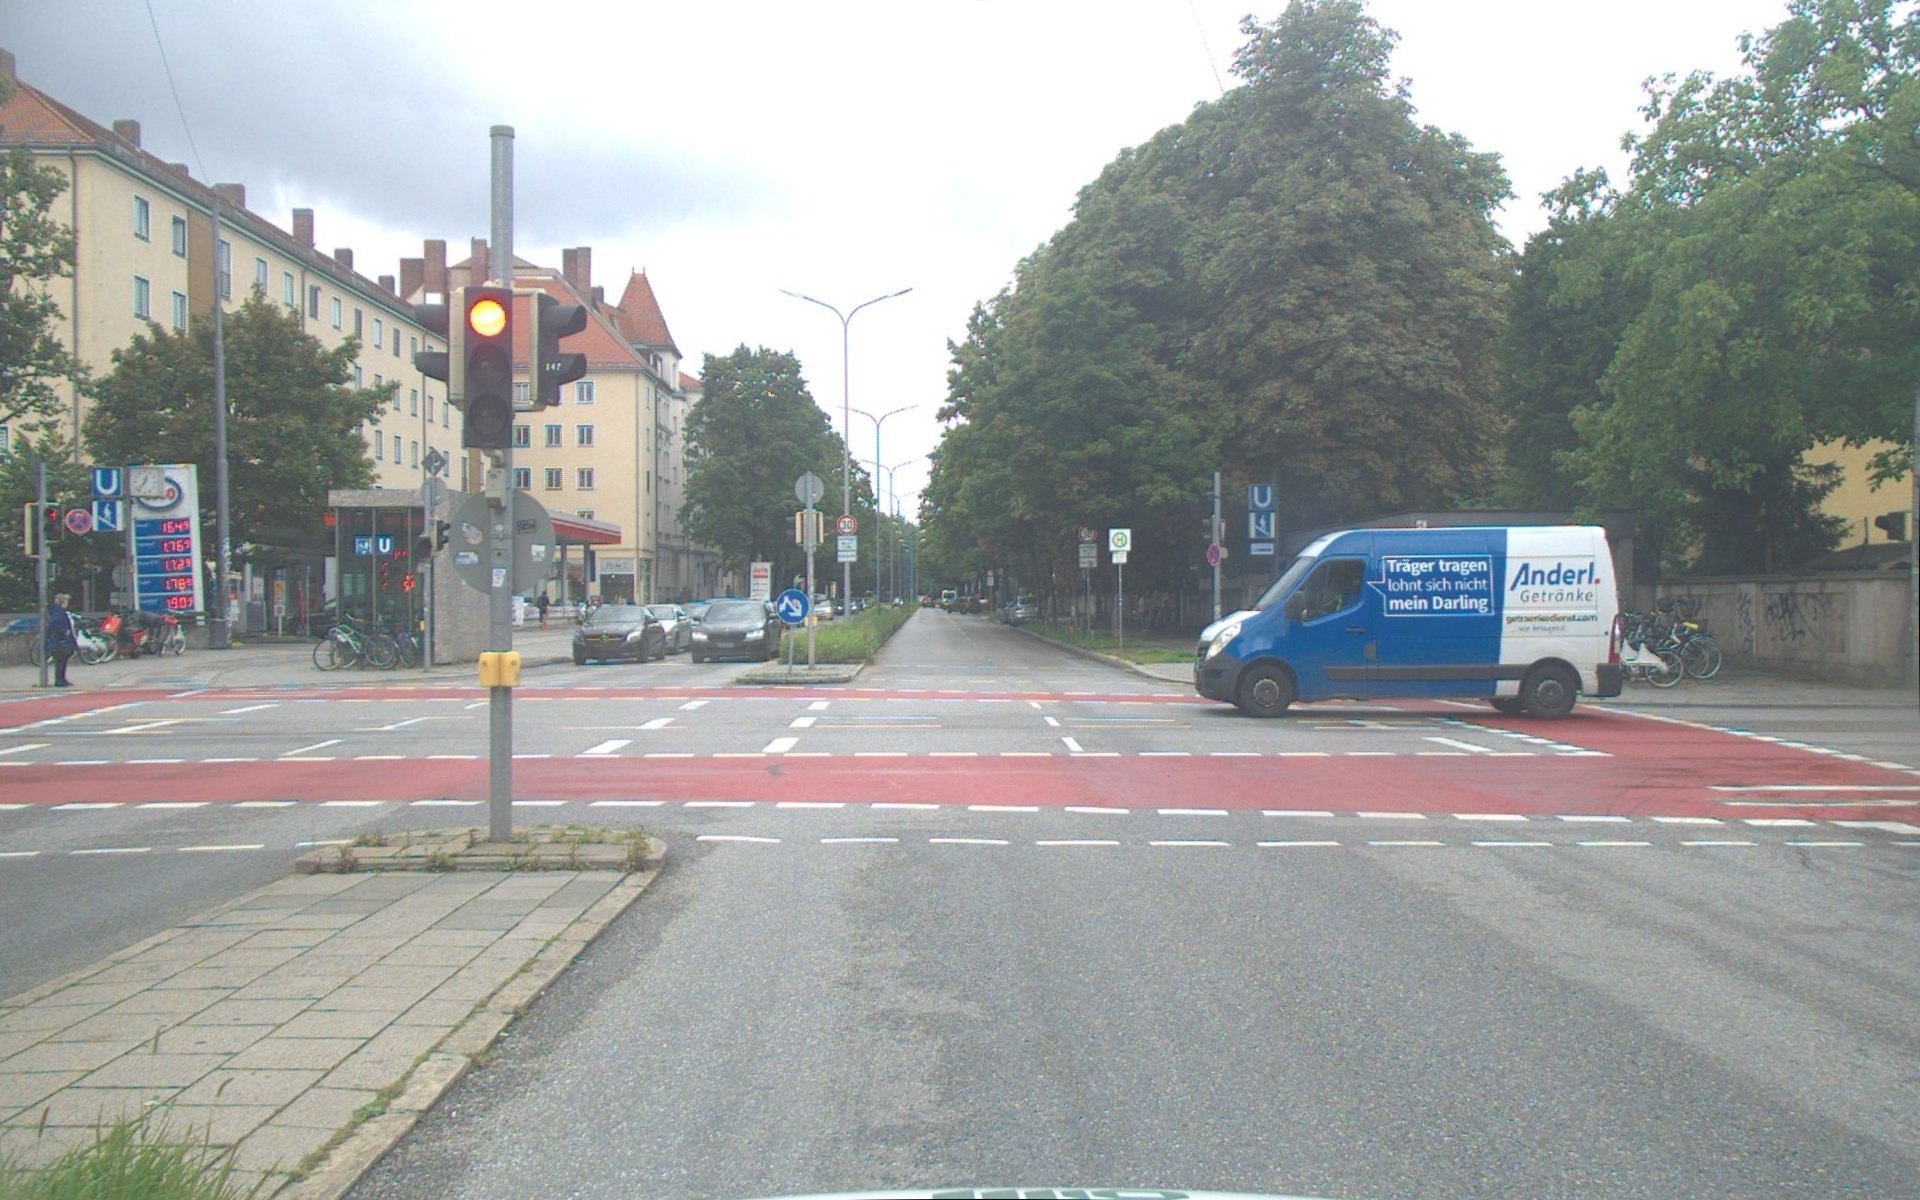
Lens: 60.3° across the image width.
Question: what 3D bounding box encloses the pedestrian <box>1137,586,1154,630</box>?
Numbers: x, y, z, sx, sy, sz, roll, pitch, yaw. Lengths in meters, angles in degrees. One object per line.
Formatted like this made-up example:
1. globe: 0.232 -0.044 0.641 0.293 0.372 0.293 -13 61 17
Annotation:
1. pedestrian: 7.271 0.315 64.831 0.663 1.712 0.683 0 0 5

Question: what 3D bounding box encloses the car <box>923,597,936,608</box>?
1. car: -4.529 0.352 245.928 1.819 1.713 3.999 0 0 -1

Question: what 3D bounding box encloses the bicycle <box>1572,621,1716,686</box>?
1. bicycle: 11.221 0.876 27.167 2.097 1.032 0.603 0 0 7

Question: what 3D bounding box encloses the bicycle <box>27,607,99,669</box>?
1. bicycle: -19.056 0.786 35.185 0.596 1.257 2.183 0 0 -7

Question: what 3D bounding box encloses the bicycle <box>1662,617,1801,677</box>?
1. bicycle: 13.482 0.816 28.936 2.097 1.032 0.634 0 0 7

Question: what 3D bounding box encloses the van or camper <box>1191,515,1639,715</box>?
1. van or camper: 5.909 0.198 22.044 5.436 2.512 2.068 0 0 3

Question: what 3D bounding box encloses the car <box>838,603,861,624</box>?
1. car: -10.269 1.228 154.080 1.912 1.855 3.999 0 0 -1

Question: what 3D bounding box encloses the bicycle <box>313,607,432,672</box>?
1. bicycle: -12.300 0.825 34.661 2.225 1.327 0.704 0 0 0

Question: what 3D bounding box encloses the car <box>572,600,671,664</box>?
1. car: -8.426 0.758 41.426 1.724 1.486 3.999 0 0 -1

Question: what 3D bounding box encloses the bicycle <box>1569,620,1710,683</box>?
1. bicycle: 11.405 0.863 27.795 2.097 1.032 0.634 0 0 7

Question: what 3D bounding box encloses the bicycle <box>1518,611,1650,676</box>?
1. bicycle: 11.025 0.766 29.248 2.097 1.120 0.603 0 0 7

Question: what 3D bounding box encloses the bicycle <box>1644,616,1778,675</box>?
1. bicycle: 13.473 0.822 29.704 2.097 1.032 0.634 0 0 7

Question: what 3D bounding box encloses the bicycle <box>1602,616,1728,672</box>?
1. bicycle: 13.311 0.823 31.280 2.097 1.032 0.634 0 0 7

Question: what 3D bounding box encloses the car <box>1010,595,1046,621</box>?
1. car: 3.647 0.428 89.689 1.708 1.387 3.805 0 0 -1

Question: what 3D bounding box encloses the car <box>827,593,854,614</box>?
1. car: -8.614 0.212 119.718 1.724 1.486 3.999 0 0 -1

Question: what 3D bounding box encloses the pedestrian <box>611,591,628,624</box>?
1. pedestrian: -17.232 0.357 83.760 0.682 1.666 0.738 0 0 -1

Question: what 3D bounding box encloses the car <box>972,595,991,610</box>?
1. car: 2.113 0.257 161.441 1.708 1.452 3.898 0 0 -1

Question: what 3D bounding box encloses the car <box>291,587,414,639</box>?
1. car: -22.519 0.468 61.439 3.908 1.870 1.879 0 0 -4

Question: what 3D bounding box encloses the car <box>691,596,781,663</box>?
1. car: -5.403 0.676 40.261 1.724 1.519 3.999 0 0 -1

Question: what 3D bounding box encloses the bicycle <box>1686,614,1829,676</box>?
1. bicycle: 13.546 0.766 28.140 2.097 1.032 0.634 0 0 7

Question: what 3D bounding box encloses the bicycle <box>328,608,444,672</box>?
1. bicycle: -12.290 0.850 35.441 2.238 1.327 0.694 0 0 0

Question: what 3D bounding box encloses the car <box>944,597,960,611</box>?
1. car: -1.042 0.519 207.255 1.884 1.713 3.999 0 0 -1

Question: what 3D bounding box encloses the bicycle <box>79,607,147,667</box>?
1. bicycle: -18.426 0.783 36.025 0.596 1.257 2.183 0 0 -7

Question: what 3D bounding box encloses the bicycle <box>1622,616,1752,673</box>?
1. bicycle: 13.379 0.822 30.496 2.097 1.032 0.634 0 0 7

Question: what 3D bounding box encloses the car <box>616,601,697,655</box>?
1. car: -8.828 0.789 48.393 1.724 1.486 3.999 0 0 -1

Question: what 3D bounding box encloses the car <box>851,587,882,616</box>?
1. car: -4.825 0.064 85.486 1.438 1.423 3.699 0 0 -1

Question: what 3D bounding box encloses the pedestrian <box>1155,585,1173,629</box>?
1. pedestrian: 8.030 0.269 64.983 0.663 1.712 0.683 0 0 5

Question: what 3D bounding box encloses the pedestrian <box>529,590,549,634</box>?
1. pedestrian: -19.752 0.551 77.614 0.715 2.049 0.834 1 -1 -1

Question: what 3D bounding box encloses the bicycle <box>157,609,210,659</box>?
1. bicycle: -18.840 0.806 40.163 0.596 1.165 1.962 0 0 -7

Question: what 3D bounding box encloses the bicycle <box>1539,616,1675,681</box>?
1. bicycle: 11.173 0.838 28.596 2.097 1.089 0.603 0 0 7

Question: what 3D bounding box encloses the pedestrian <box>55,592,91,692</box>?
1. pedestrian: -15.551 0.722 29.005 0.527 1.725 0.572 0 0 -27

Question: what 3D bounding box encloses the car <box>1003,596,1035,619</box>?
1. car: 3.531 0.438 99.758 1.708 1.387 3.805 0 0 -1
